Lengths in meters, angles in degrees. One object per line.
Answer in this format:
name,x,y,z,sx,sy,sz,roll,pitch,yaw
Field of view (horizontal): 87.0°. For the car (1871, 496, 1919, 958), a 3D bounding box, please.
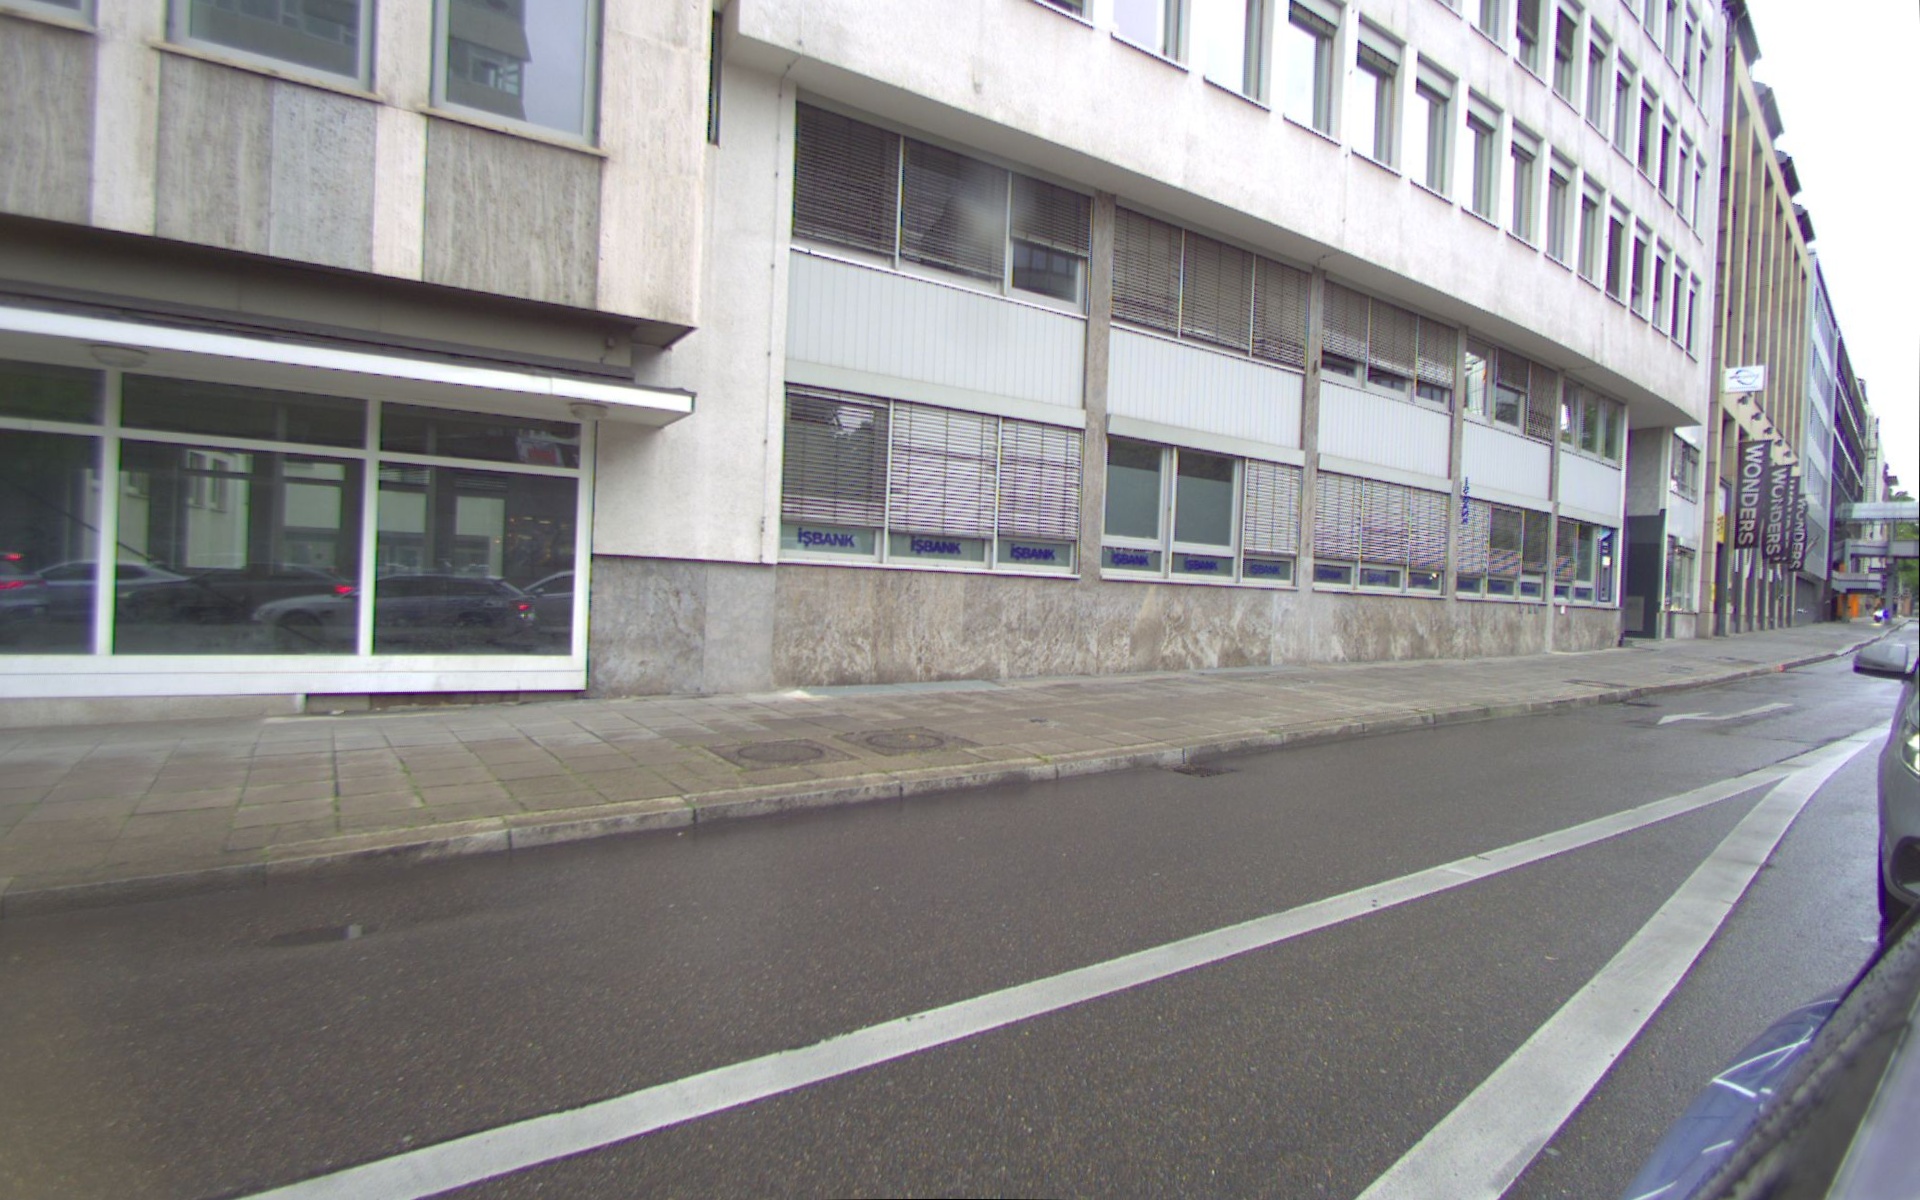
car,6.270,0.530,5.170,4.940,1.879,1.914,0,0,-42
